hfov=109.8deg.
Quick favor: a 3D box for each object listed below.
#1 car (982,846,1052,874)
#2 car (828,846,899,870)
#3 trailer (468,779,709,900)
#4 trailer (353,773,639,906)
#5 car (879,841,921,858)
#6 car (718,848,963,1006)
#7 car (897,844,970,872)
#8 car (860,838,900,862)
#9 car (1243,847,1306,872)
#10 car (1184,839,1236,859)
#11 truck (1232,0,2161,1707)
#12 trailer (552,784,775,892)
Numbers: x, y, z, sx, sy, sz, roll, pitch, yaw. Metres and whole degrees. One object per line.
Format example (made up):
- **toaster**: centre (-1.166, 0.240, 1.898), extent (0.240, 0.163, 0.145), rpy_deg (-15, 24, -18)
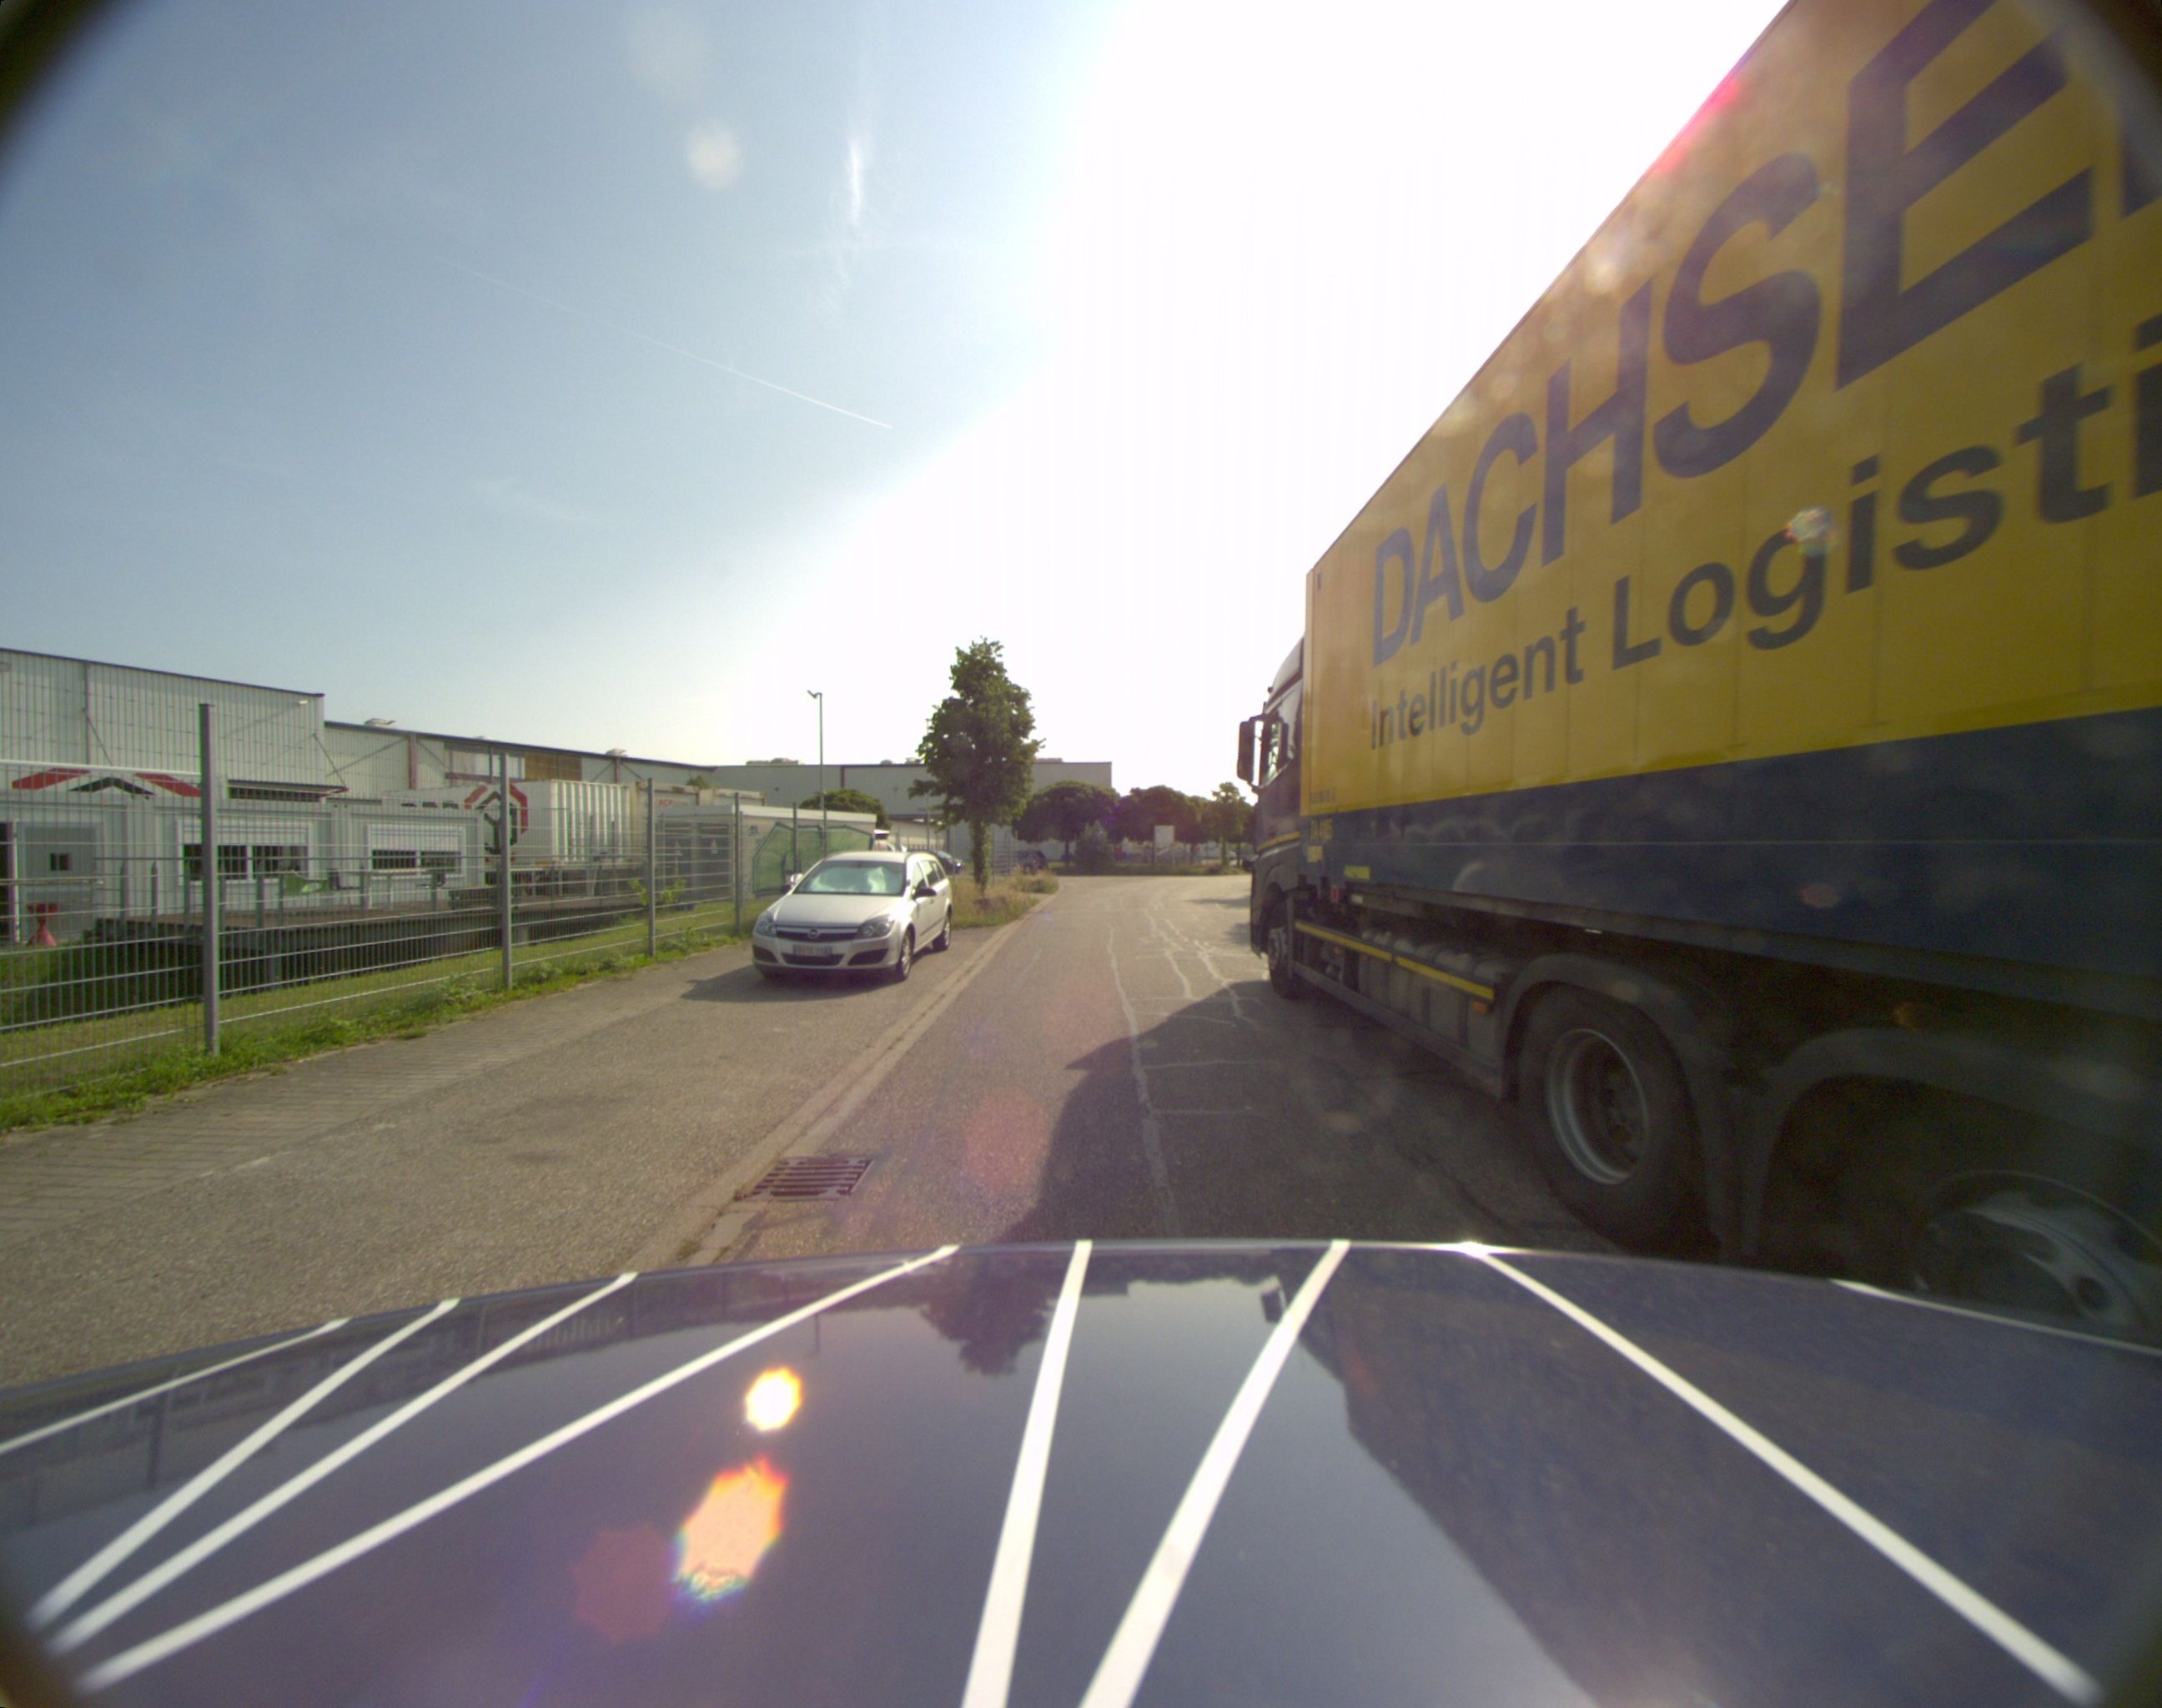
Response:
- **car**: centre (-3.913, 0.360, 46.827), extent (3.955, 1.515, 1.728), rpy_deg (-1, 3, 11)
- **car**: centre (-14.605, 0.249, 51.033), extent (4.481, 1.509, 1.730), rpy_deg (0, 3, 24)
- **trailer**: centre (-17.707, -0.505, 27.265), extent (8.543, 3.871, 2.780), rpy_deg (0, 1, 21)
- **trailer**: centre (-18.696, -0.345, 24.249), extent (8.741, 3.739, 2.794), rpy_deg (-1, 1, 19)
- **car**: centre (-22.882, -0.565, 96.181), extent (4.842, 2.072, 1.932), rpy_deg (0, 1, 5)
- **car**: centre (-2.875, 0.757, 10.212), extent (1.803, 1.616, 4.449), rpy_deg (1, 0, 1)
- **car**: centre (-9.494, 0.300, 48.937), extent (4.258, 1.616, 1.881), rpy_deg (-3, -1, 25)
- **car**: centre (-21.402, -0.459, 81.333), extent (2.172, 2.503, 6.701), rpy_deg (0, 1, 3)
- **car**: centre (13.461, 0.312, 52.632), extent (1.881, 1.565, 5.129), rpy_deg (2, 3, 44)
- **car**: centre (16.413, -0.632, 97.009), extent (6.267, 2.633, 2.213), rpy_deg (0, 1, 2)
- **truck**: centre (3.021, -0.430, 3.802), extent (2.504, 4.121, 10.378), rpy_deg (1, 0, 1)
- **trailer**: centre (-16.513, -0.593, 30.022), extent (8.543, 3.872, 2.779), rpy_deg (-1, 3, 22)
